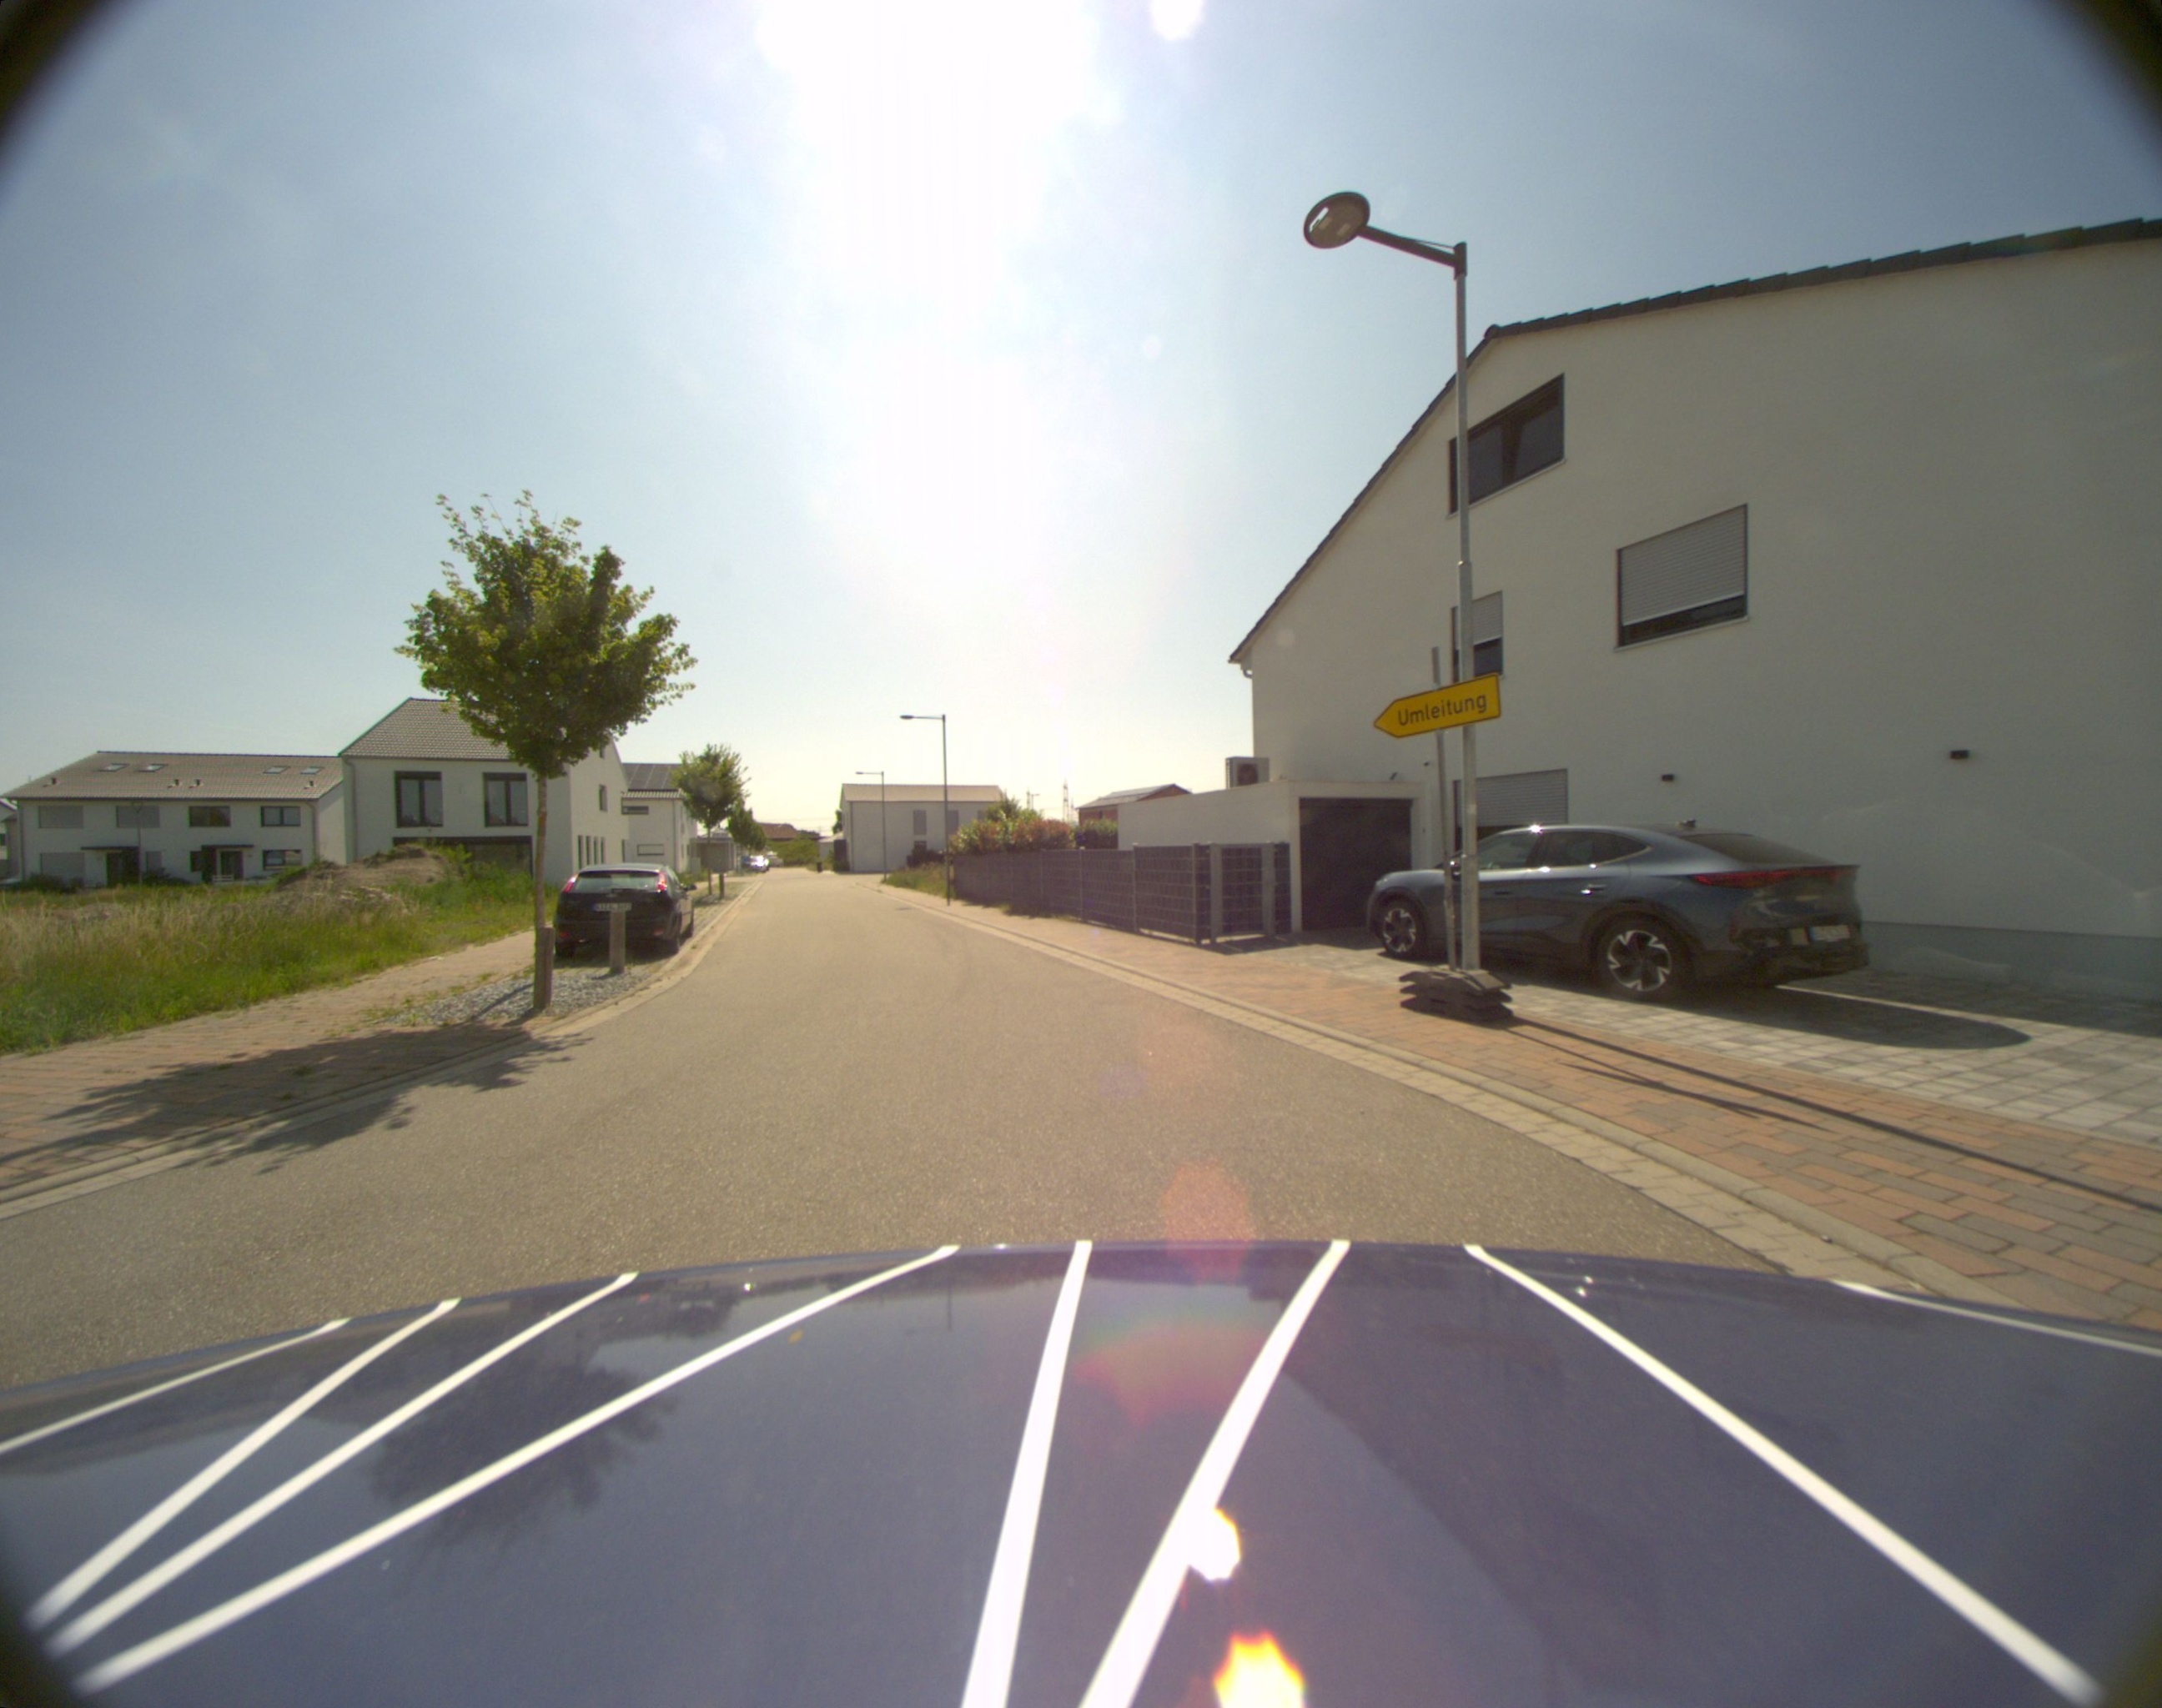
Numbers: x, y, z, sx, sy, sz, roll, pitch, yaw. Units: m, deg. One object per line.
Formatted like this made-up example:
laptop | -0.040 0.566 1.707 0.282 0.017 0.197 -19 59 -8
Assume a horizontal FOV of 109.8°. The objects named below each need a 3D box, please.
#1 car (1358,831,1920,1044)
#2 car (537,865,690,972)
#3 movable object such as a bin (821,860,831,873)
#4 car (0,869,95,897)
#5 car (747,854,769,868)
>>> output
car | 5.204 0.597 7.917 1.962 1.549 4.343 -1 0 -22
car | -8.027 0.980 13.419 1.852 1.485 4.185 -3 1 -26
movable object such as a bin | -22.120 1.041 65.819 0.808 1.092 0.671 -2 1 -19
car | -66.850 1.839 49.066 1.816 1.565 3.994 -2 1 -16
car | -33.669 0.731 79.283 1.927 1.412 4.413 -1 1 -20
